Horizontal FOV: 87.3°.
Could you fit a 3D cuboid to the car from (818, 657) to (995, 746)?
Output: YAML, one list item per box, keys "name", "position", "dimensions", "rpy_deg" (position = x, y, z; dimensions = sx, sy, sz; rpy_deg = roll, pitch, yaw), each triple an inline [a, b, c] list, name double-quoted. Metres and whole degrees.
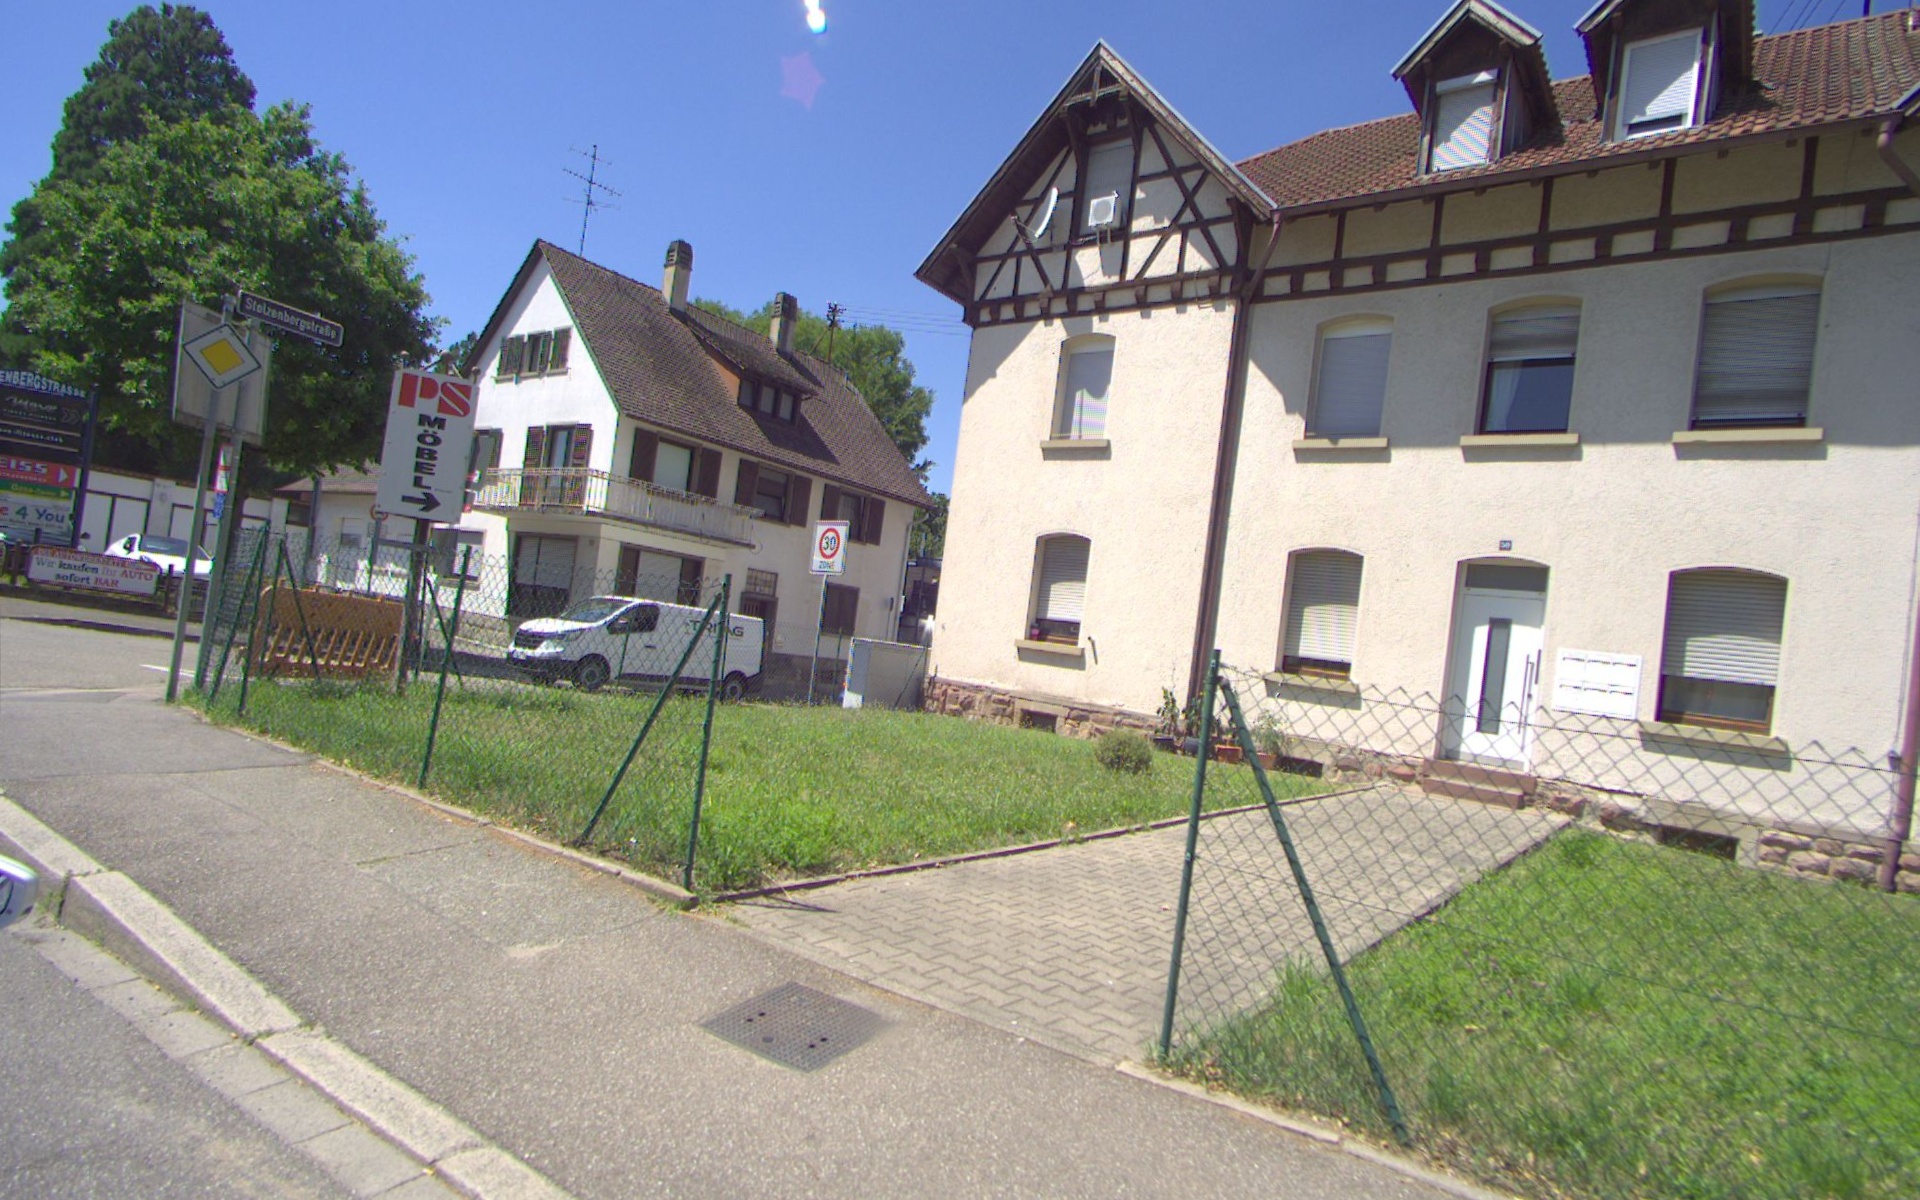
- name: "car"
  position: [-1.131, 2.354, 22.900]
  dimensions: [1.789, 1.458, 3.890]
  rpy_deg: [7, -4, 38]

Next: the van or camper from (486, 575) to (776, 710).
- name: "van or camper"
  position: [-6.622, 0.976, 20.912]
  dimensions: [1.971, 1.998, 5.352]
  rpy_deg: [5, -6, 39]

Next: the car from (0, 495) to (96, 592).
- name: "car"
  position: [-20.225, -1.318, 21.599]
  dimensions: [4.396, 1.683, 1.712]
  rpy_deg: [6, -4, 41]

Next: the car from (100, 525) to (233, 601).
- name: "car"
  position: [-18.423, -0.875, 23.327]
  dimensions: [3.337, 1.284, 1.712]
  rpy_deg: [7, -3, 41]
